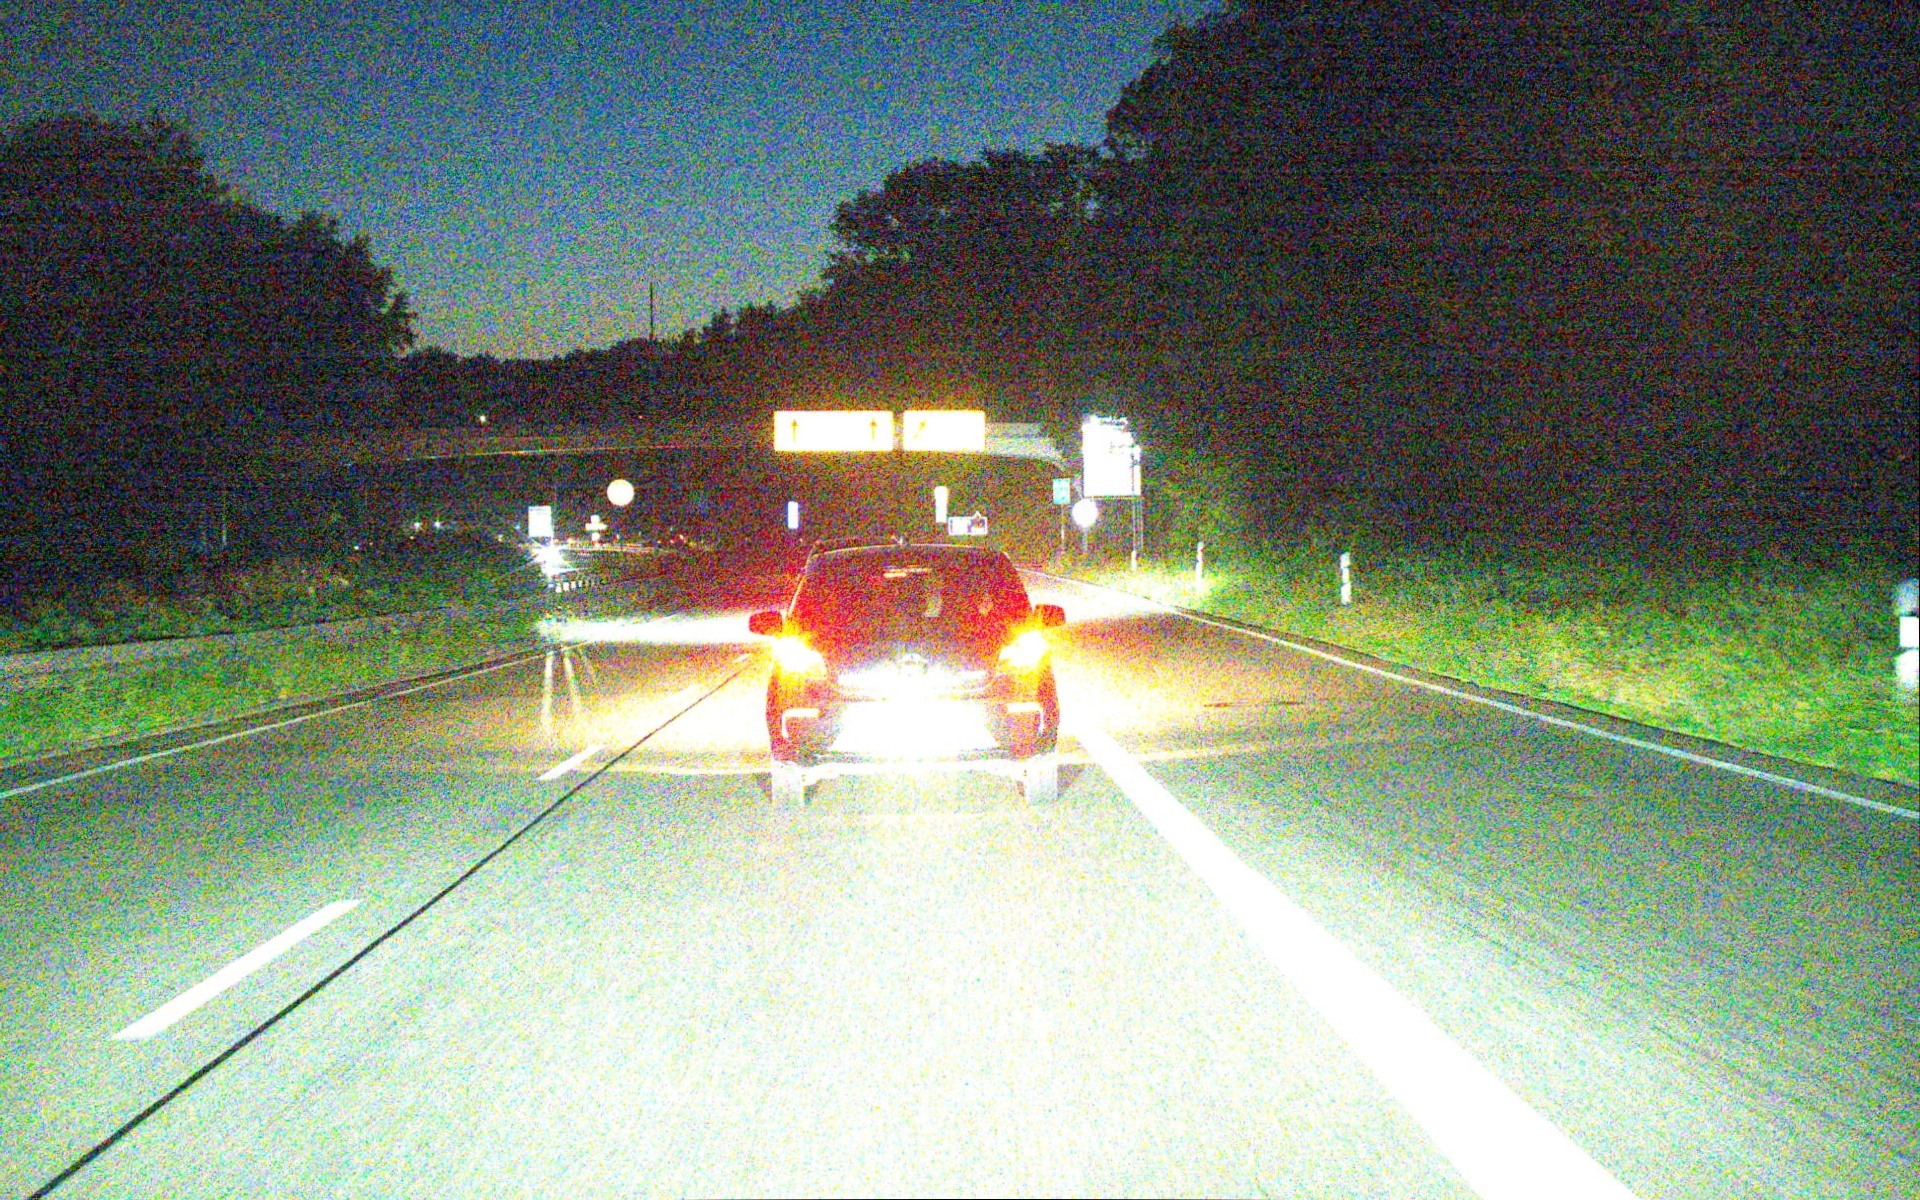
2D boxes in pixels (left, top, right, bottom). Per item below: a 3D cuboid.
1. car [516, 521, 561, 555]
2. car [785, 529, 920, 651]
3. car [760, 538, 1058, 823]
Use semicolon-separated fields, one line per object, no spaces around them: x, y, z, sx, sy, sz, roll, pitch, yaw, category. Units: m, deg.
-23.371;-3.454;190.740;1.967;1.757;5.033;-2;1;-2;car
-1.564;-0.178;50.699;1.906;1.692;4.001;0;2;-1;car
-0.356;0.395;20.433;1.588;1.503;4.001;0;1;-2;car
